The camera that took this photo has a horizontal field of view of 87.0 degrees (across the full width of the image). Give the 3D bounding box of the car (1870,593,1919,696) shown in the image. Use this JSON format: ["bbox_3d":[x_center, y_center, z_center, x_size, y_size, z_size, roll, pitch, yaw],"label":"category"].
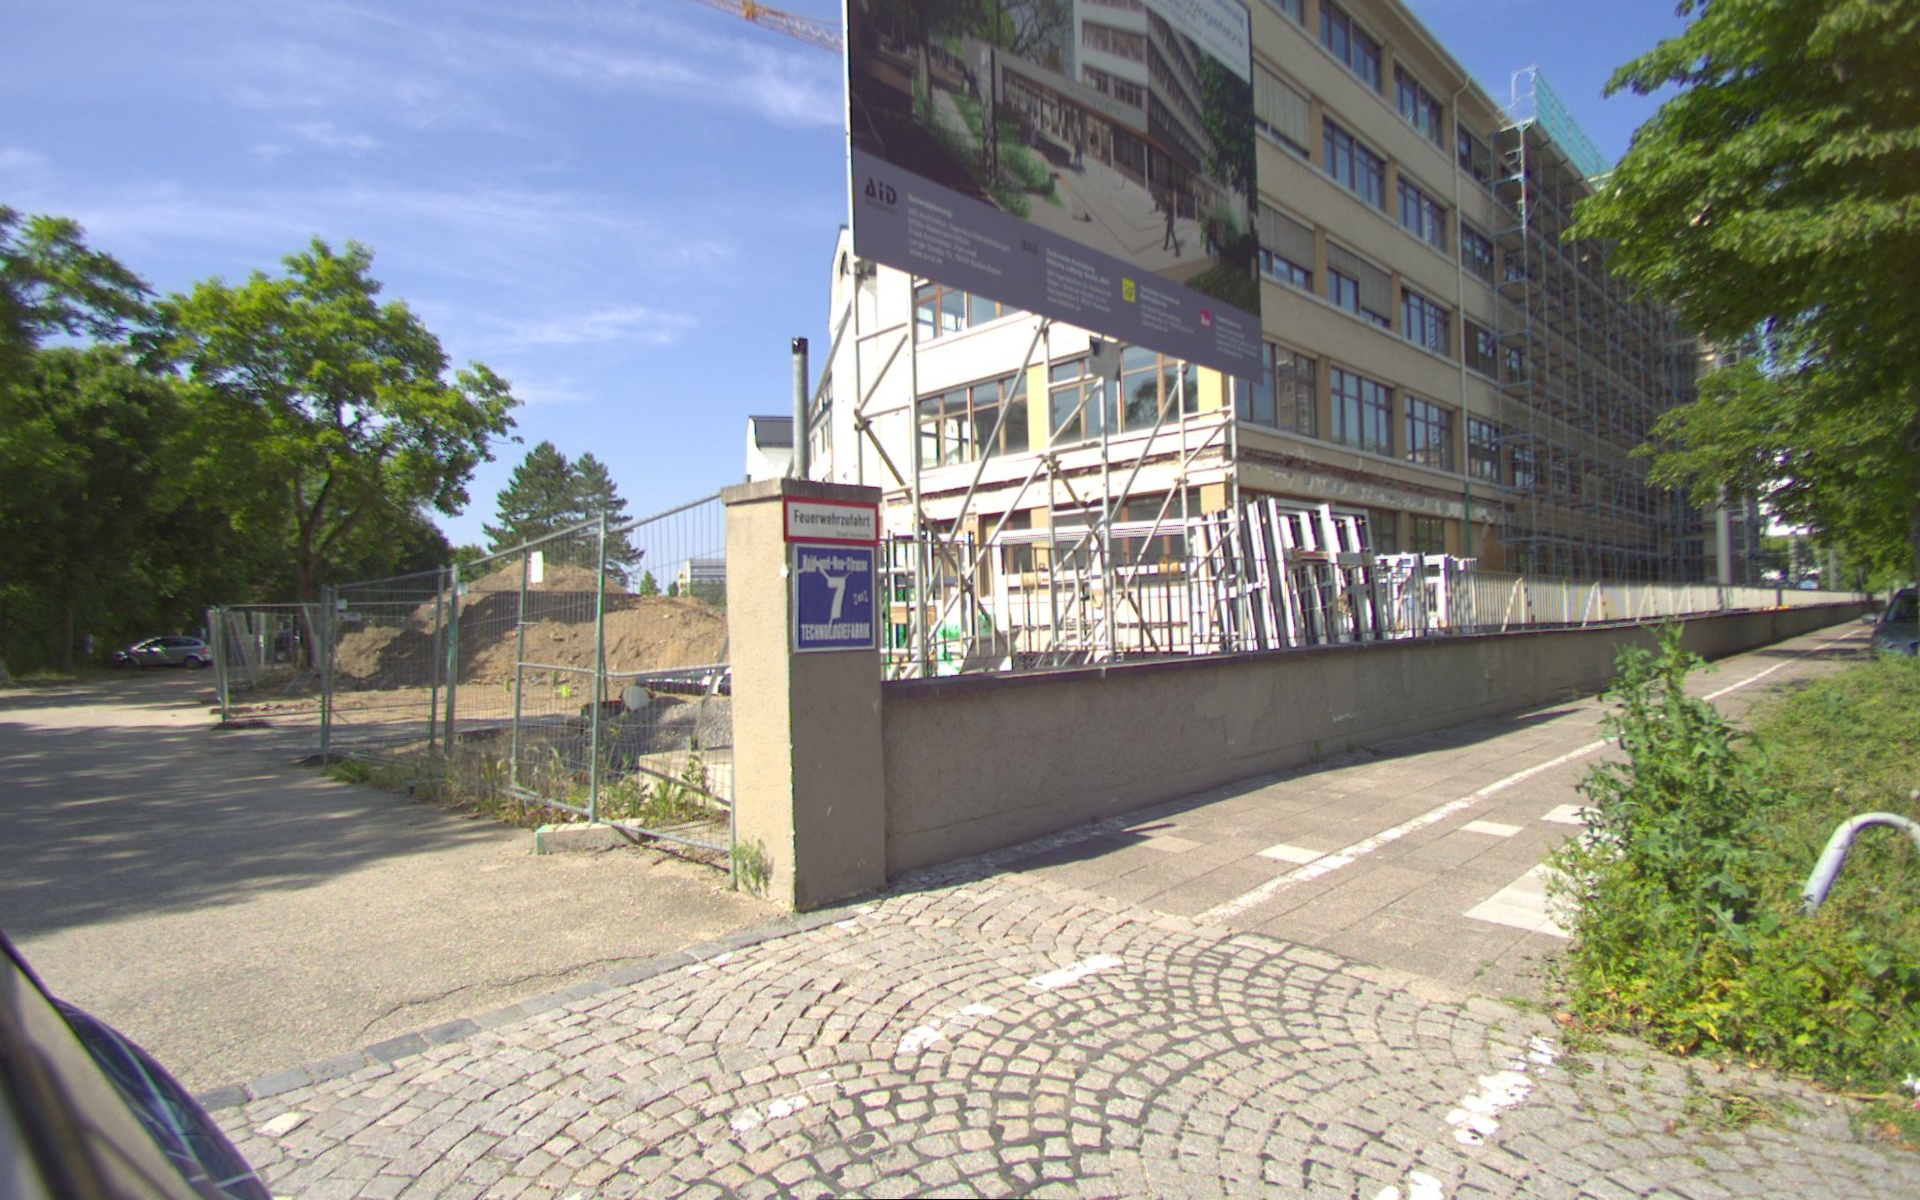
[{"bbox_3d":[15.676,0.653,15.946,1.821,1.506,4.048,-3,-2,44],"label":"car"}]

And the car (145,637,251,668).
[{"bbox_3d":[-38.587,2.638,51.368,3.930,1.453,2.006,0,-2,-25],"label":"car"}]

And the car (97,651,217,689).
[{"bbox_3d":[-36.635,3.162,46.308,3.930,1.519,2.006,-1,-2,-25],"label":"car"}]

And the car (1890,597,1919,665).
[{"bbox_3d":[22.374,0.670,22.903,1.821,1.464,3.942,-3,-2,44],"label":"car"}]
